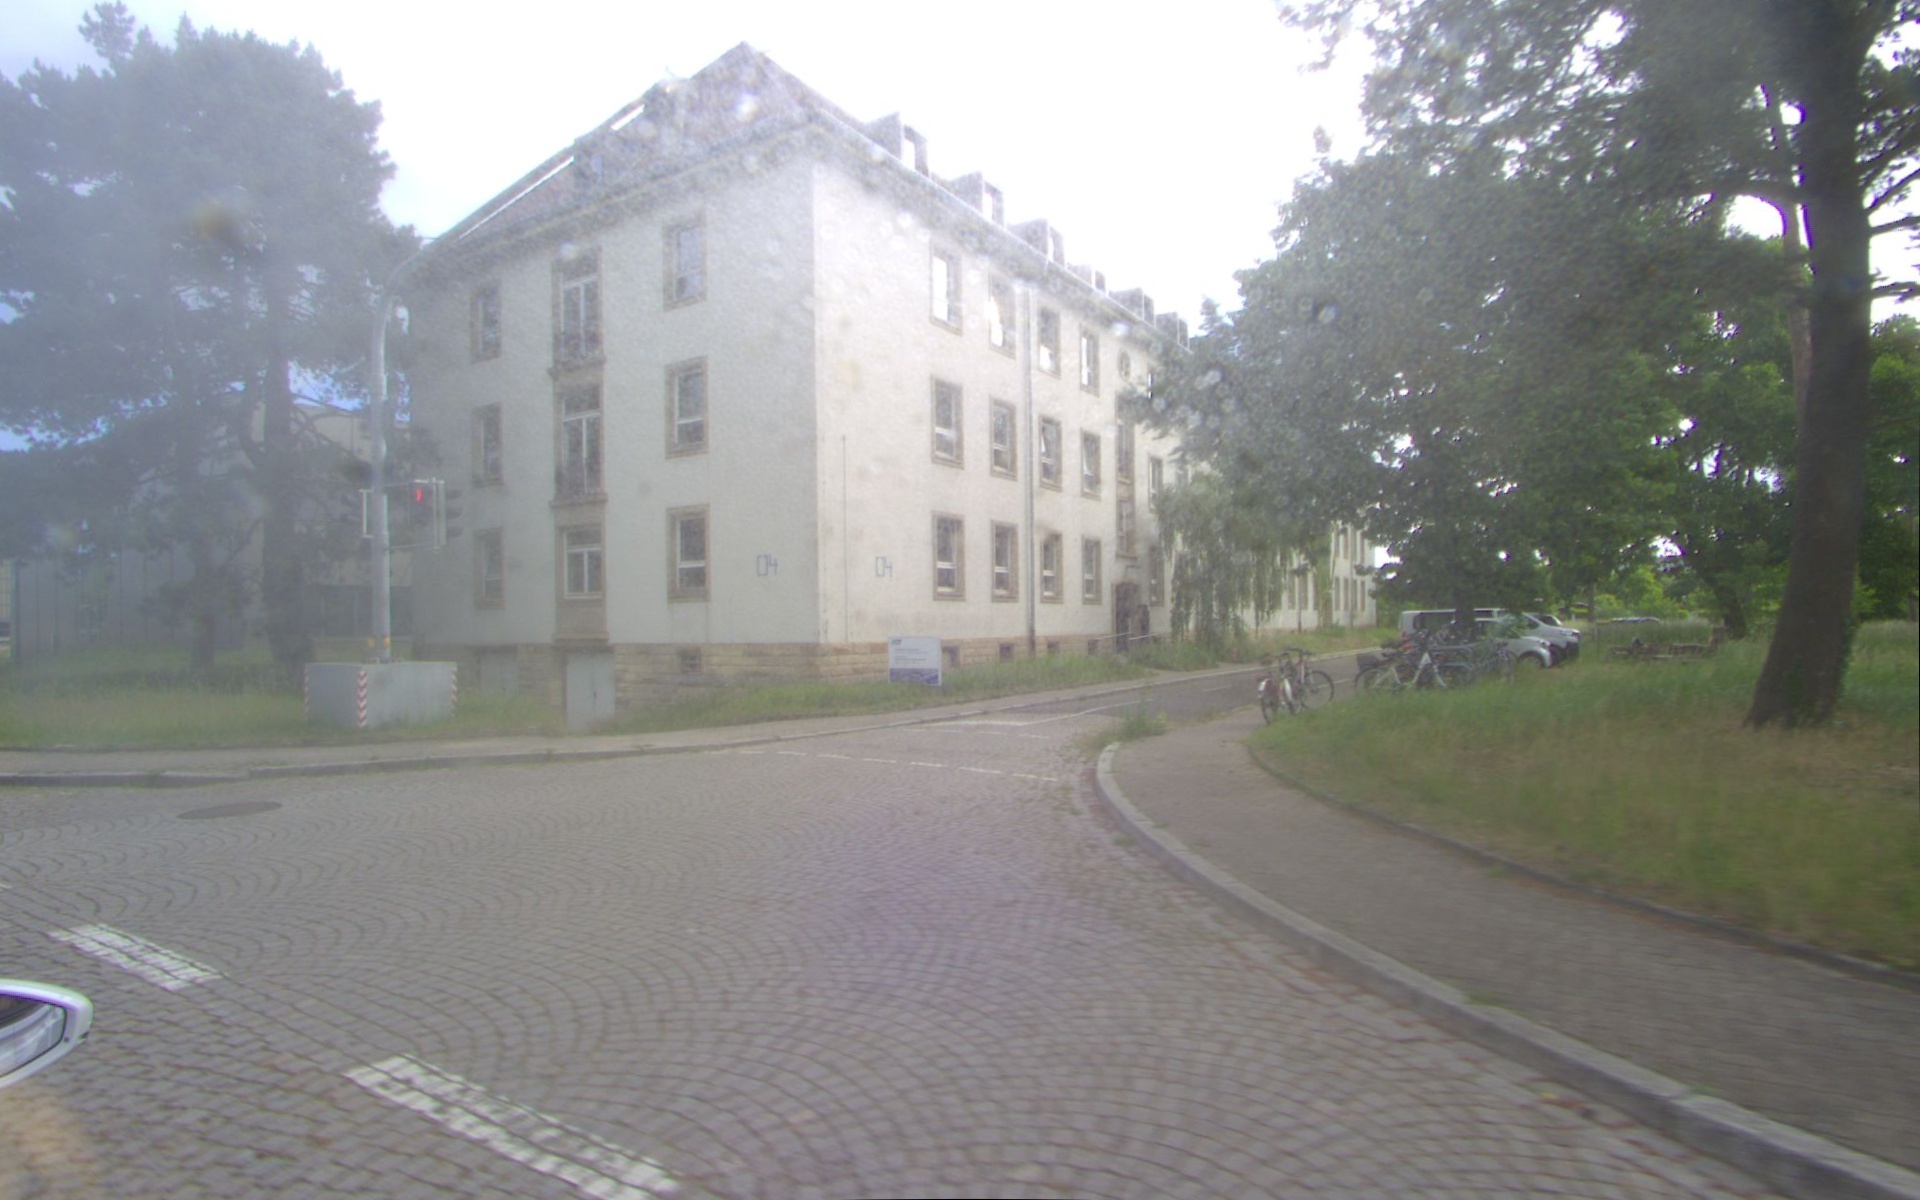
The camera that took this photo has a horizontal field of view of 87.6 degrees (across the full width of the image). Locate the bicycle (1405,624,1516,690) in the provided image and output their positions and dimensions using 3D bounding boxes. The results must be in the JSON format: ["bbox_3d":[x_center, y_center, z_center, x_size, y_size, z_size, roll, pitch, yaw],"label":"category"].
[{"bbox_3d":[10.949,1.216,21.960,2.076,1.385,0.754,-1,-1,38],"label":"bicycle"}]

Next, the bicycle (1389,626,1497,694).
[{"bbox_3d":[9.856,1.198,20.475,1.914,1.337,0.551,-1,-1,38],"label":"bicycle"}]

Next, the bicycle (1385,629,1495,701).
[{"bbox_3d":[9.306,1.237,19.476,1.894,1.337,0.390,-1,-1,38],"label":"bicycle"}]

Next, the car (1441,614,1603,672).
[{"bbox_3d":[16.020,1.198,28.586,3.878,1.550,1.852,-1,-1,35],"label":"car"}]

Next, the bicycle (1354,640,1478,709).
[{"bbox_3d":[7.827,1.250,17.231,1.878,1.115,0.539,-1,-1,38],"label":"bicycle"}]

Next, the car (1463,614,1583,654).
[{"bbox_3d":[24.491,1.482,43.605,4.454,1.639,1.989,-1,-1,34],"label":"car"}]

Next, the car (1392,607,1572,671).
[{"bbox_3d":[16.608,1.235,32.164,4.775,1.934,2.237,-1,-1,18],"label":"car"}]

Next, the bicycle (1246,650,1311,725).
[{"bbox_3d":[4.660,1.242,14.588,0.522,0.992,1.618,-1,-1,32],"label":"bicycle"}]

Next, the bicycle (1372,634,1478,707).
[{"bbox_3d":[8.197,1.225,17.680,1.618,1.231,0.539,-1,-1,38],"label":"bicycle"}]

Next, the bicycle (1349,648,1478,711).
[{"bbox_3d":[7.521,1.298,16.652,1.878,0.961,0.539,-1,-1,38],"label":"bicycle"}]

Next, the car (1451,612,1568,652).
[{"bbox_3d":[25.602,1.484,46.688,4.631,1.796,1.989,-1,-1,34],"label":"car"}]

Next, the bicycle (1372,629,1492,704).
[{"bbox_3d":[8.744,1.202,18.603,1.951,1.337,0.574,-1,-1,38],"label":"bicycle"}]

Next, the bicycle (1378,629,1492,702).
[{"bbox_3d":[9.041,1.224,19.111,1.896,1.337,0.504,-1,-1,38],"label":"bicycle"}]

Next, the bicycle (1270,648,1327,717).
[{"bbox_3d":[5.476,1.303,16.144,0.535,1.027,1.533,-1,-1,32],"label":"bicycle"}]

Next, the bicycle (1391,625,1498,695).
[{"bbox_3d":[9.614,1.177,19.907,1.830,1.337,0.553,-1,-1,38],"label":"bicycle"}]

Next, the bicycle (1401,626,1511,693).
[{"bbox_3d":[10.308,1.217,20.853,1.990,1.337,0.538,-1,-1,38],"label":"bicycle"}]

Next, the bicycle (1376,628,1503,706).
[{"bbox_3d":[8.599,1.178,18.020,2.022,1.337,0.436,-1,-1,38],"label":"bicycle"}]

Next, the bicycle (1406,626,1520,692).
[{"bbox_3d":[10.667,1.235,21.296,2.105,1.337,0.552,-1,-1,38],"label":"bicycle"}]
